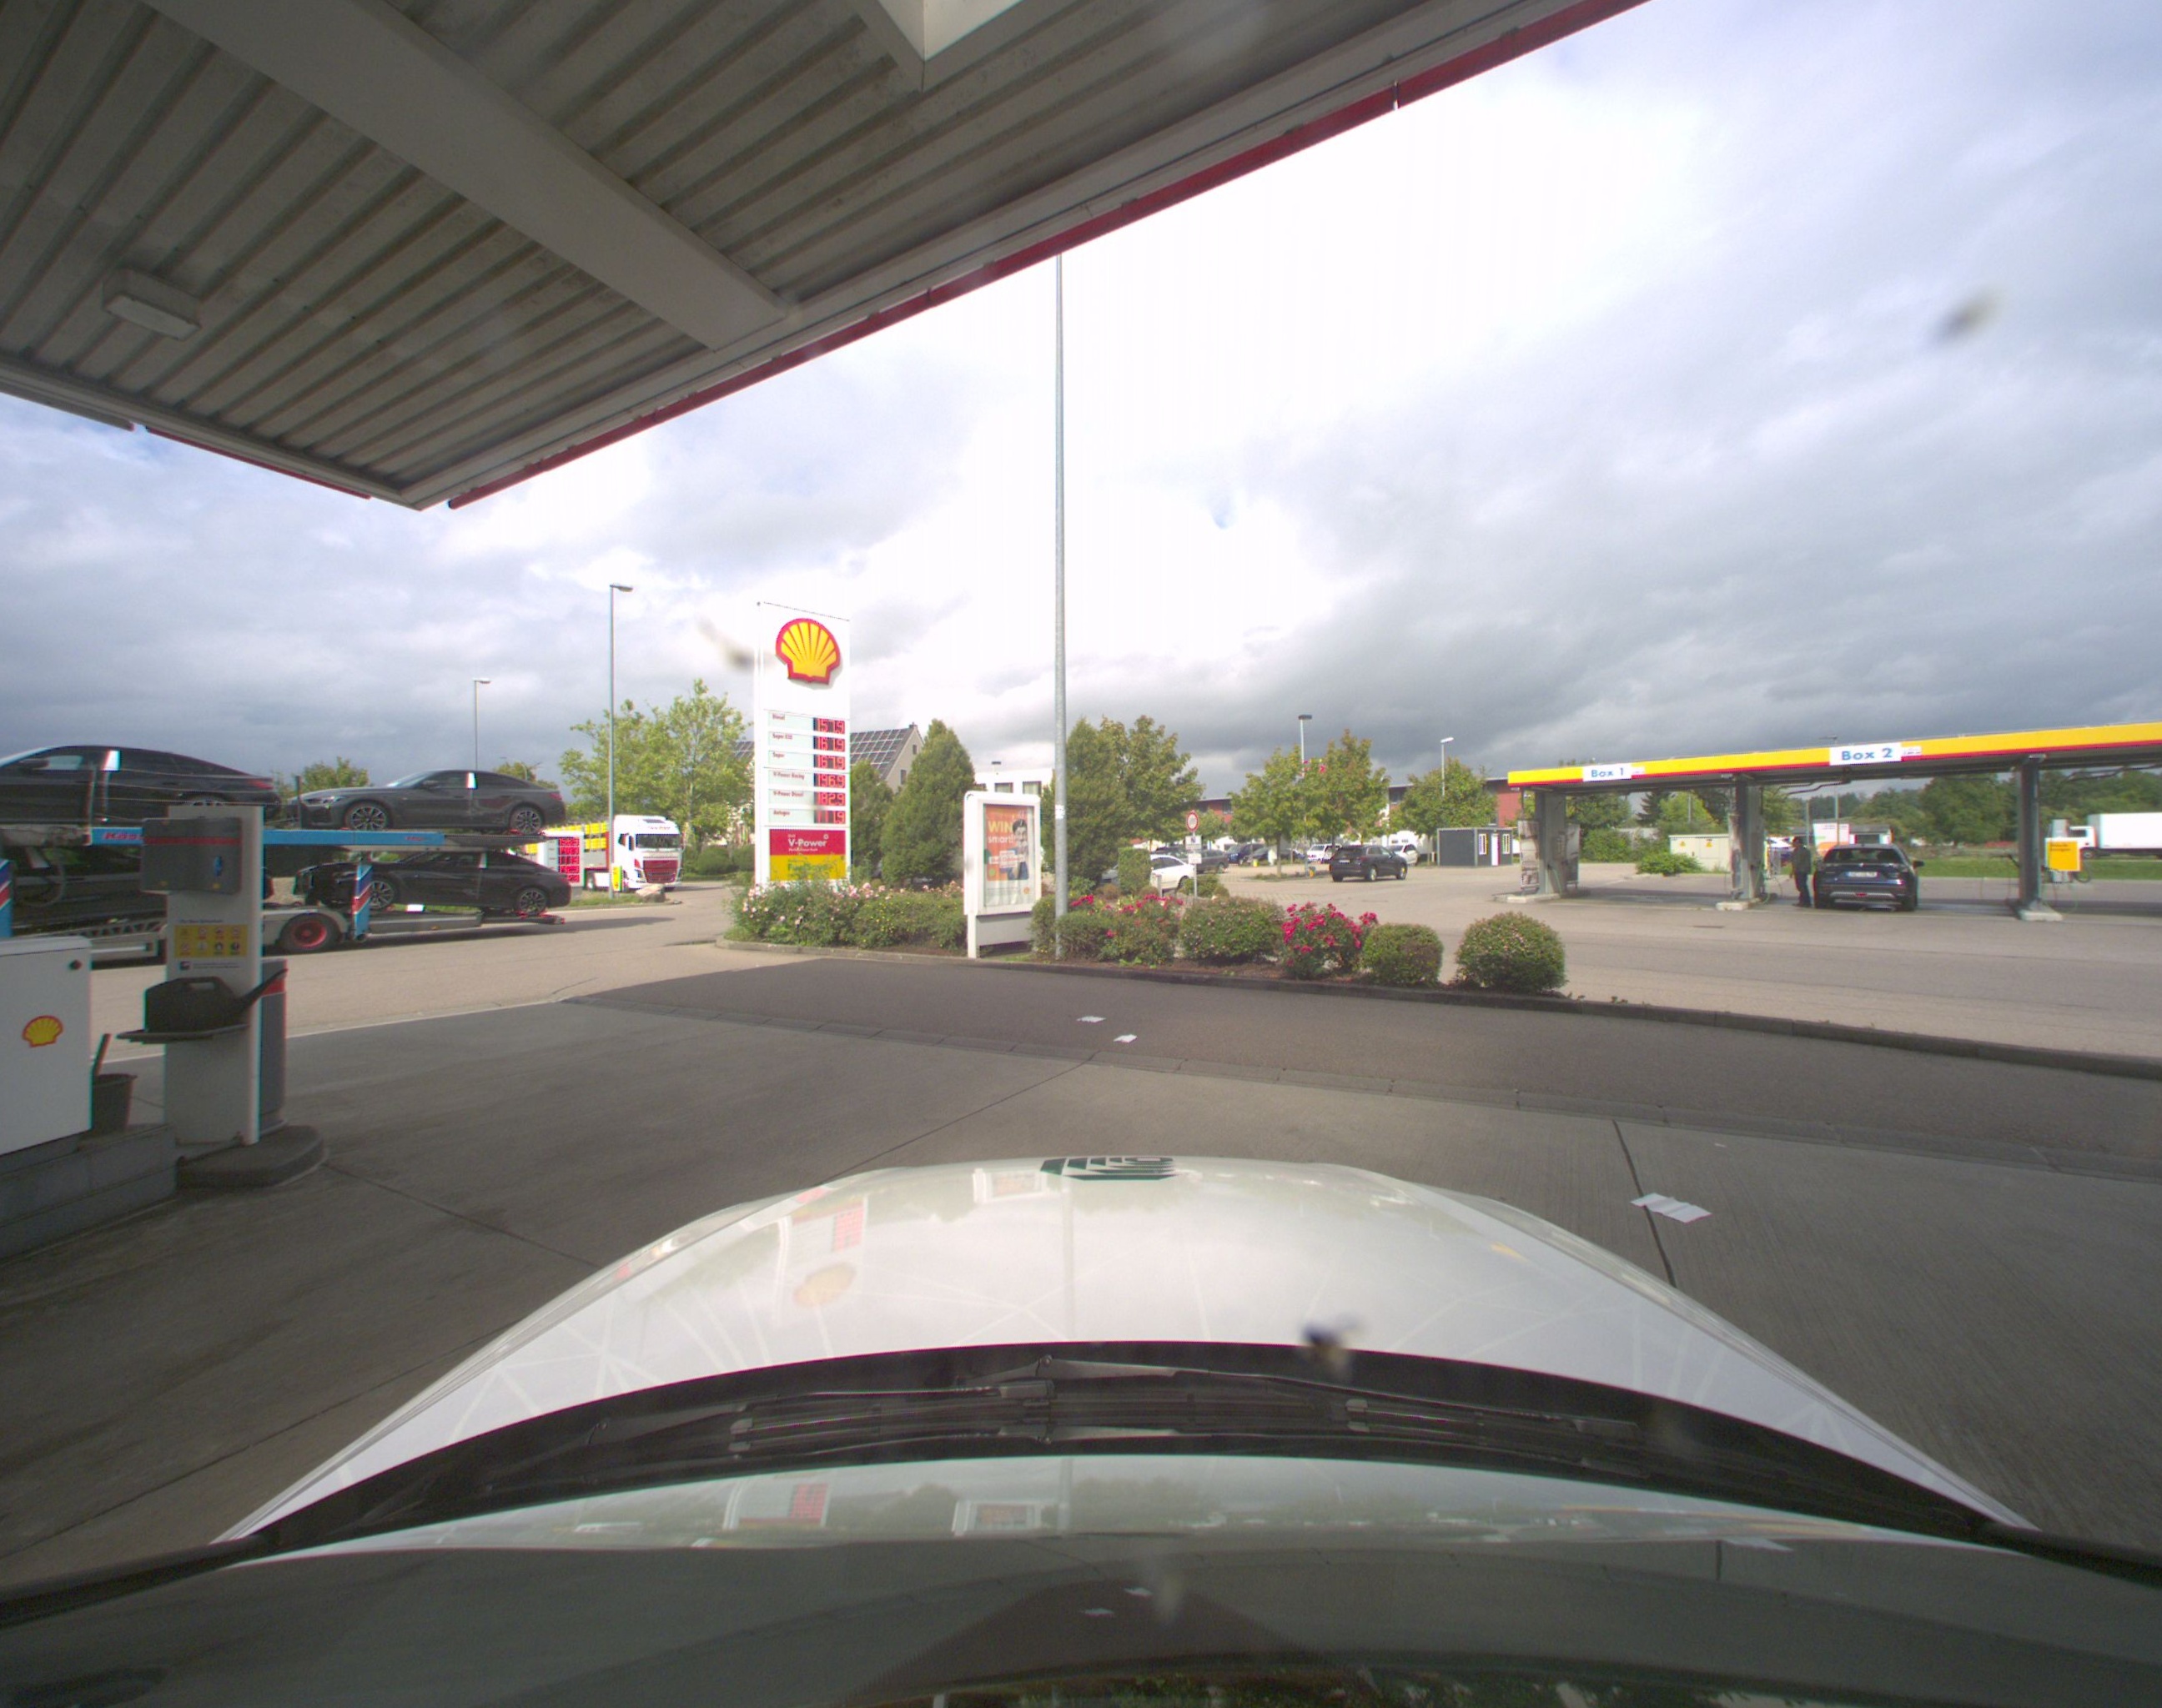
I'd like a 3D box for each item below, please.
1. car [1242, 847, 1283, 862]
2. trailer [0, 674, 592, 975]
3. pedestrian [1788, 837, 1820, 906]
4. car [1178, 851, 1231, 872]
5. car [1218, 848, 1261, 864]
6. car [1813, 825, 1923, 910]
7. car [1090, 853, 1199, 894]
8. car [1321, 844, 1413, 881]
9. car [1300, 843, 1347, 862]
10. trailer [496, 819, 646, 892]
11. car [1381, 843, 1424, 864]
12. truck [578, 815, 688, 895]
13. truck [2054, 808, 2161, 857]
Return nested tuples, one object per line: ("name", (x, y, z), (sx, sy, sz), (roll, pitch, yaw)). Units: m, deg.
("car", (14.510, 0.030, 64.882), (3.437, 1.179, 1.468), (0, -1, -42))
("trailer", (-16.424, -0.421, 13.695), (2.711, 4.423, 14.450), (-1, -1, 31))
("pedestrian", (18.293, 0.435, 20.606), (0.551, 1.722, 0.531), (-1, -1, 38))
("car", (7.555, 0.443, 49.713), (3.245, 1.228, 1.488), (0, -1, -42))
("car", (12.968, 0.177, 66.667), (3.407, 1.320, 1.726), (0, -1, -42))
("car", (19.450, 0.312, 20.081), (3.828, 1.897, 1.703), (0, -1, -43))
("car", (2.407, 0.678, 30.029), (4.368, 1.404, 1.354), (0, -1, -42))
("car", (12.890, 0.370, 36.587), (4.527, 1.548, 1.864), (0, -1, -41))
("car", (23.893, -0.125, 80.274), (4.903, 1.833, 2.159), (0, -1, -41))
("trailer", (-29.584, 0.164, 46.870), (12.548, 3.776, 2.757), (-1, -1, 36))
("car", (20.623, -0.050, 52.222), (3.120, 1.307, 1.352), (0, -1, -42))
("truck", (-23.341, 0.082, 42.346), (5.842, 3.846, 2.759), (-1, -1, 36))
("truck", (78.248, -1.554, 60.006), (7.989, 3.534, 2.714), (-1, -1, 41))
